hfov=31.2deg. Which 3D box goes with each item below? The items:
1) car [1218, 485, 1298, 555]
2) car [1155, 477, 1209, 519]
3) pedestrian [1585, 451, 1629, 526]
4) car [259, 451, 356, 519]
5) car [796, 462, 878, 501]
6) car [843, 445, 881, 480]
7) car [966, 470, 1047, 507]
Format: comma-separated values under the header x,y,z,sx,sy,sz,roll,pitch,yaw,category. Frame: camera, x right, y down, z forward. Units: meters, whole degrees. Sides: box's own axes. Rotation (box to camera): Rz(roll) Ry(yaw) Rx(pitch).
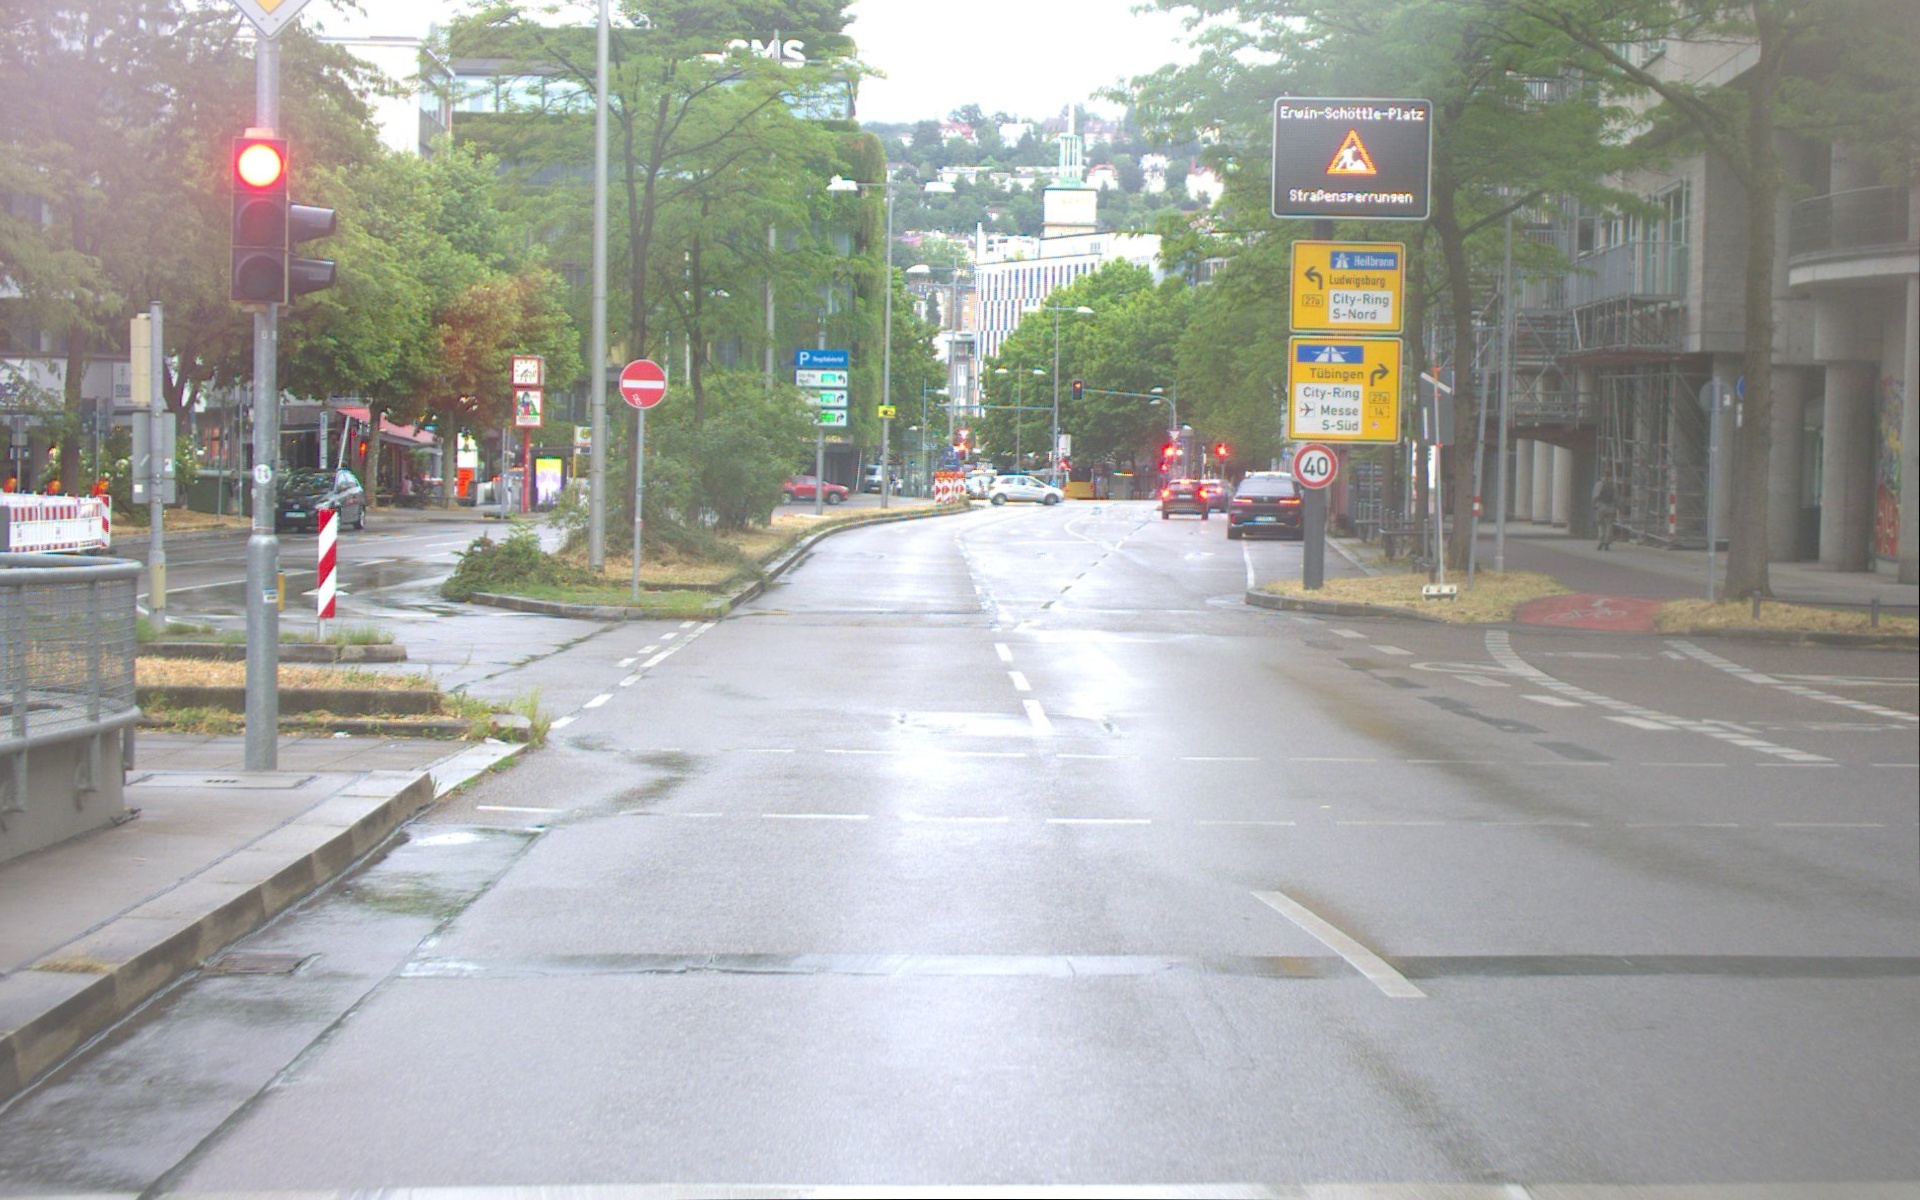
x,y,z,sx,sy,sz,roll,pitch,yaw,category
7.569,-2.040,87.578,1.901,1.678,3.910,2,2,4,car
8.503,-3.900,131.820,1.746,1.514,4.107,2,2,-1,car
13.660,-2.349,72.601,0.786,1.552,0.533,2,1,4,pedestrian
-16.550,-2.949,87.319,1.780,1.550,3.894,2,4,-1,car
-6.524,-6.285,182.528,4.008,1.913,1.886,2,1,-12,car
-6.480,-9.111,228.013,2.128,2.157,5.197,2,2,2,car
2.475,-5.968,184.205,4.055,1.898,1.955,2,1,-7,car
